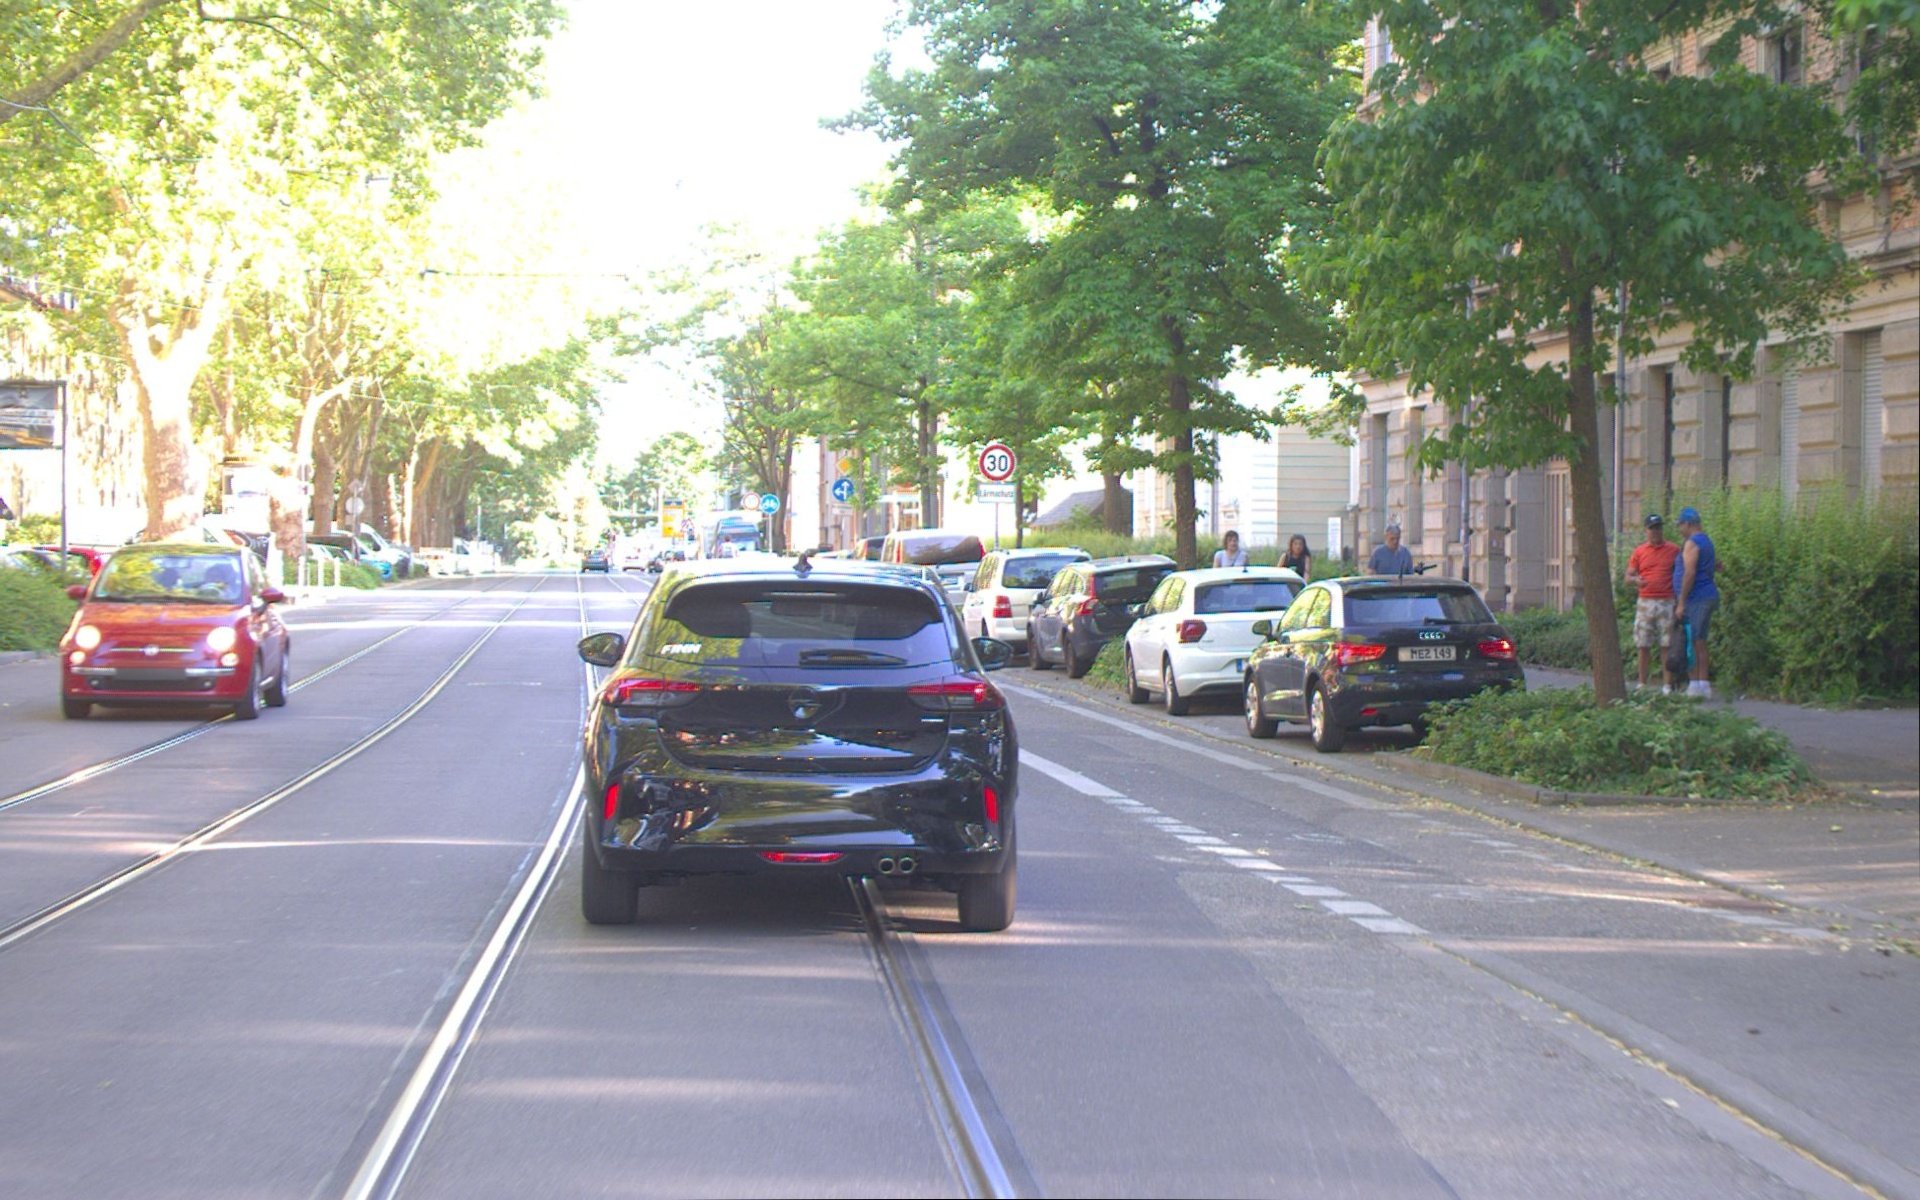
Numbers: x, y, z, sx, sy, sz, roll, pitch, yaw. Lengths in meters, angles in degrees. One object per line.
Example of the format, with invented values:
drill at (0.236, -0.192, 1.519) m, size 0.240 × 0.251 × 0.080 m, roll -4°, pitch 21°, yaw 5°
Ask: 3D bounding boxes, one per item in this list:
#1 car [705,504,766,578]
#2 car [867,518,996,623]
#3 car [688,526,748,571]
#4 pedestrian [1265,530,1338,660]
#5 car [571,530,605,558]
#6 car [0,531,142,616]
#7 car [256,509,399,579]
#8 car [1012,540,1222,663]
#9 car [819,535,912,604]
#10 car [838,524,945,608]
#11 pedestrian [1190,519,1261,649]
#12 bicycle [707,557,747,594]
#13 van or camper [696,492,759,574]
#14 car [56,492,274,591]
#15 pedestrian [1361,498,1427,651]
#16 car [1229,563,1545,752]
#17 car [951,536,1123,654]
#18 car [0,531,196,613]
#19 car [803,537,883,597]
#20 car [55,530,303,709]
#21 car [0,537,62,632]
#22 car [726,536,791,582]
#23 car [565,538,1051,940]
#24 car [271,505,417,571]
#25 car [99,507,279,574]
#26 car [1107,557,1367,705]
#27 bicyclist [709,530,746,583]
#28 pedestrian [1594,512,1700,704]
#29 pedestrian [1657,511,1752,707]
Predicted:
car at (-8.623, -2.299, 131.777) m, size 2.084 × 2.762 × 4.698 m, roll -1°, pitch 2°, yaw -6°
car at (-0.578, -0.577, 64.967) m, size 1.883 × 1.845 × 4.968 m, roll -2°, pitch 1°, yaw -6°
car at (-10.265, -2.178, 145.451) m, size 2.253 × 1.834 × 5.532 m, roll -1°, pitch 1°, yaw -6°
pedestrian at (4.541, -0.067, 45.741) m, size 0.726 × 1.703 × 0.856 m, roll 1°, pitch 1°, yaw -9°
car at (-24.980, -3.755, 230.942) m, size 2.253 × 1.834 × 5.532 m, roll -1°, pitch 1°, yaw -6°
car at (-16.607, -0.489, 61.829) m, size 3.419 × 1.460 × 1.760 m, roll 1°, pitch 1°, yaw -4°
car at (-23.827, -2.125, 129.605) m, size 5.035 × 2.366 × 2.082 m, roll -3°, pitch 1°, yaw -6°
car at (1.982, -0.020, 44.859) m, size 1.883 × 1.462 × 4.595 m, roll -2°, pitch 1°, yaw -8°
car at (-2.220, -0.722, 79.921) m, size 1.711 × 1.509 × 4.038 m, roll -2°, pitch 1°, yaw -7°
car at (-1.513, -0.747, 74.157) m, size 1.885 × 1.760 × 4.679 m, roll 0°, pitch 1°, yaw -6°
pedestrian at (3.523, -0.215, 45.661) m, size 0.726 × 1.687 × 0.957 m, roll 1°, pitch 1°, yaw -7°
bicycle at (-6.667, -0.703, 98.360) m, size 0.967 × 0.995 × 2.584 m, roll 1°, pitch 1°, yaw -8°
van or camper at (-9.371, -2.677, 138.297) m, size 2.253 × 3.205 × 5.532 m, roll -1°, pitch 1°, yaw -6°
car at (-19.375, -1.425, 84.012) m, size 5.031 × 2.251 × 2.086 m, roll 1°, pitch 1°, yaw -9°
pedestrian at (5.125, -0.302, 40.628) m, size 0.726 × 1.787 × 0.600 m, roll 1°, pitch 1°, yaw 7°
car at (3.510, 0.430, 28.912) m, size 1.672 × 1.407 × 3.844 m, roll -2°, pitch 1°, yaw -8°
car at (1.061, -0.106, 49.548) m, size 1.883 × 1.562 × 4.243 m, roll -2°, pitch 1°, yaw -6°
car at (-16.517, -0.540, 64.701) m, size 3.986 × 1.460 × 1.854 m, roll 1°, pitch 1°, yaw -6°
car at (-3.033, -0.869, 88.622) m, size 1.702 × 1.418 × 3.979 m, roll -3°, pitch 1°, yaw -6°
car at (-6.781, 0.135, 30.123) m, size 1.660 × 1.439 × 3.474 m, roll 2°, pitch 1°, yaw -6°
car at (-16.152, -0.284, 54.505) m, size 3.419 × 1.460 × 1.697 m, roll 1°, pitch 1°, yaw -4°
car at (-6.741, -1.386, 114.589) m, size 1.883 × 1.429 × 4.531 m, roll -2°, pitch 1°, yaw -6°
car at (-0.766, 0.488, 14.662) m, size 1.763 × 1.455 × 3.951 m, roll 1°, pitch 1°, yaw -6°
car at (-25.463, -2.570, 142.216) m, size 5.638 × 2.584 × 2.196 m, roll 1°, pitch 1°, yaw -2°
car at (-19.518, -1.505, 87.201) m, size 4.298 × 1.601 × 1.926 m, roll 1°, pitch 1°, yaw -9°
car at (2.791, 0.274, 35.556) m, size 1.883 × 1.363 × 4.108 m, roll -2°, pitch 1°, yaw -6°
bicyclist at (-6.654, -1.256, 98.321) m, size 0.958 × 1.494 × 1.094 m, roll 1°, pitch 1°, yaw -8°
pedestrian at (6.496, 0.074, 32.513) m, size 0.599 × 1.787 × 0.728 m, roll 1°, pitch 1°, yaw -41°
pedestrian at (6.900, 0.077, 31.867) m, size 0.598 × 1.787 × 0.728 m, roll 1°, pitch 1°, yaw -9°
